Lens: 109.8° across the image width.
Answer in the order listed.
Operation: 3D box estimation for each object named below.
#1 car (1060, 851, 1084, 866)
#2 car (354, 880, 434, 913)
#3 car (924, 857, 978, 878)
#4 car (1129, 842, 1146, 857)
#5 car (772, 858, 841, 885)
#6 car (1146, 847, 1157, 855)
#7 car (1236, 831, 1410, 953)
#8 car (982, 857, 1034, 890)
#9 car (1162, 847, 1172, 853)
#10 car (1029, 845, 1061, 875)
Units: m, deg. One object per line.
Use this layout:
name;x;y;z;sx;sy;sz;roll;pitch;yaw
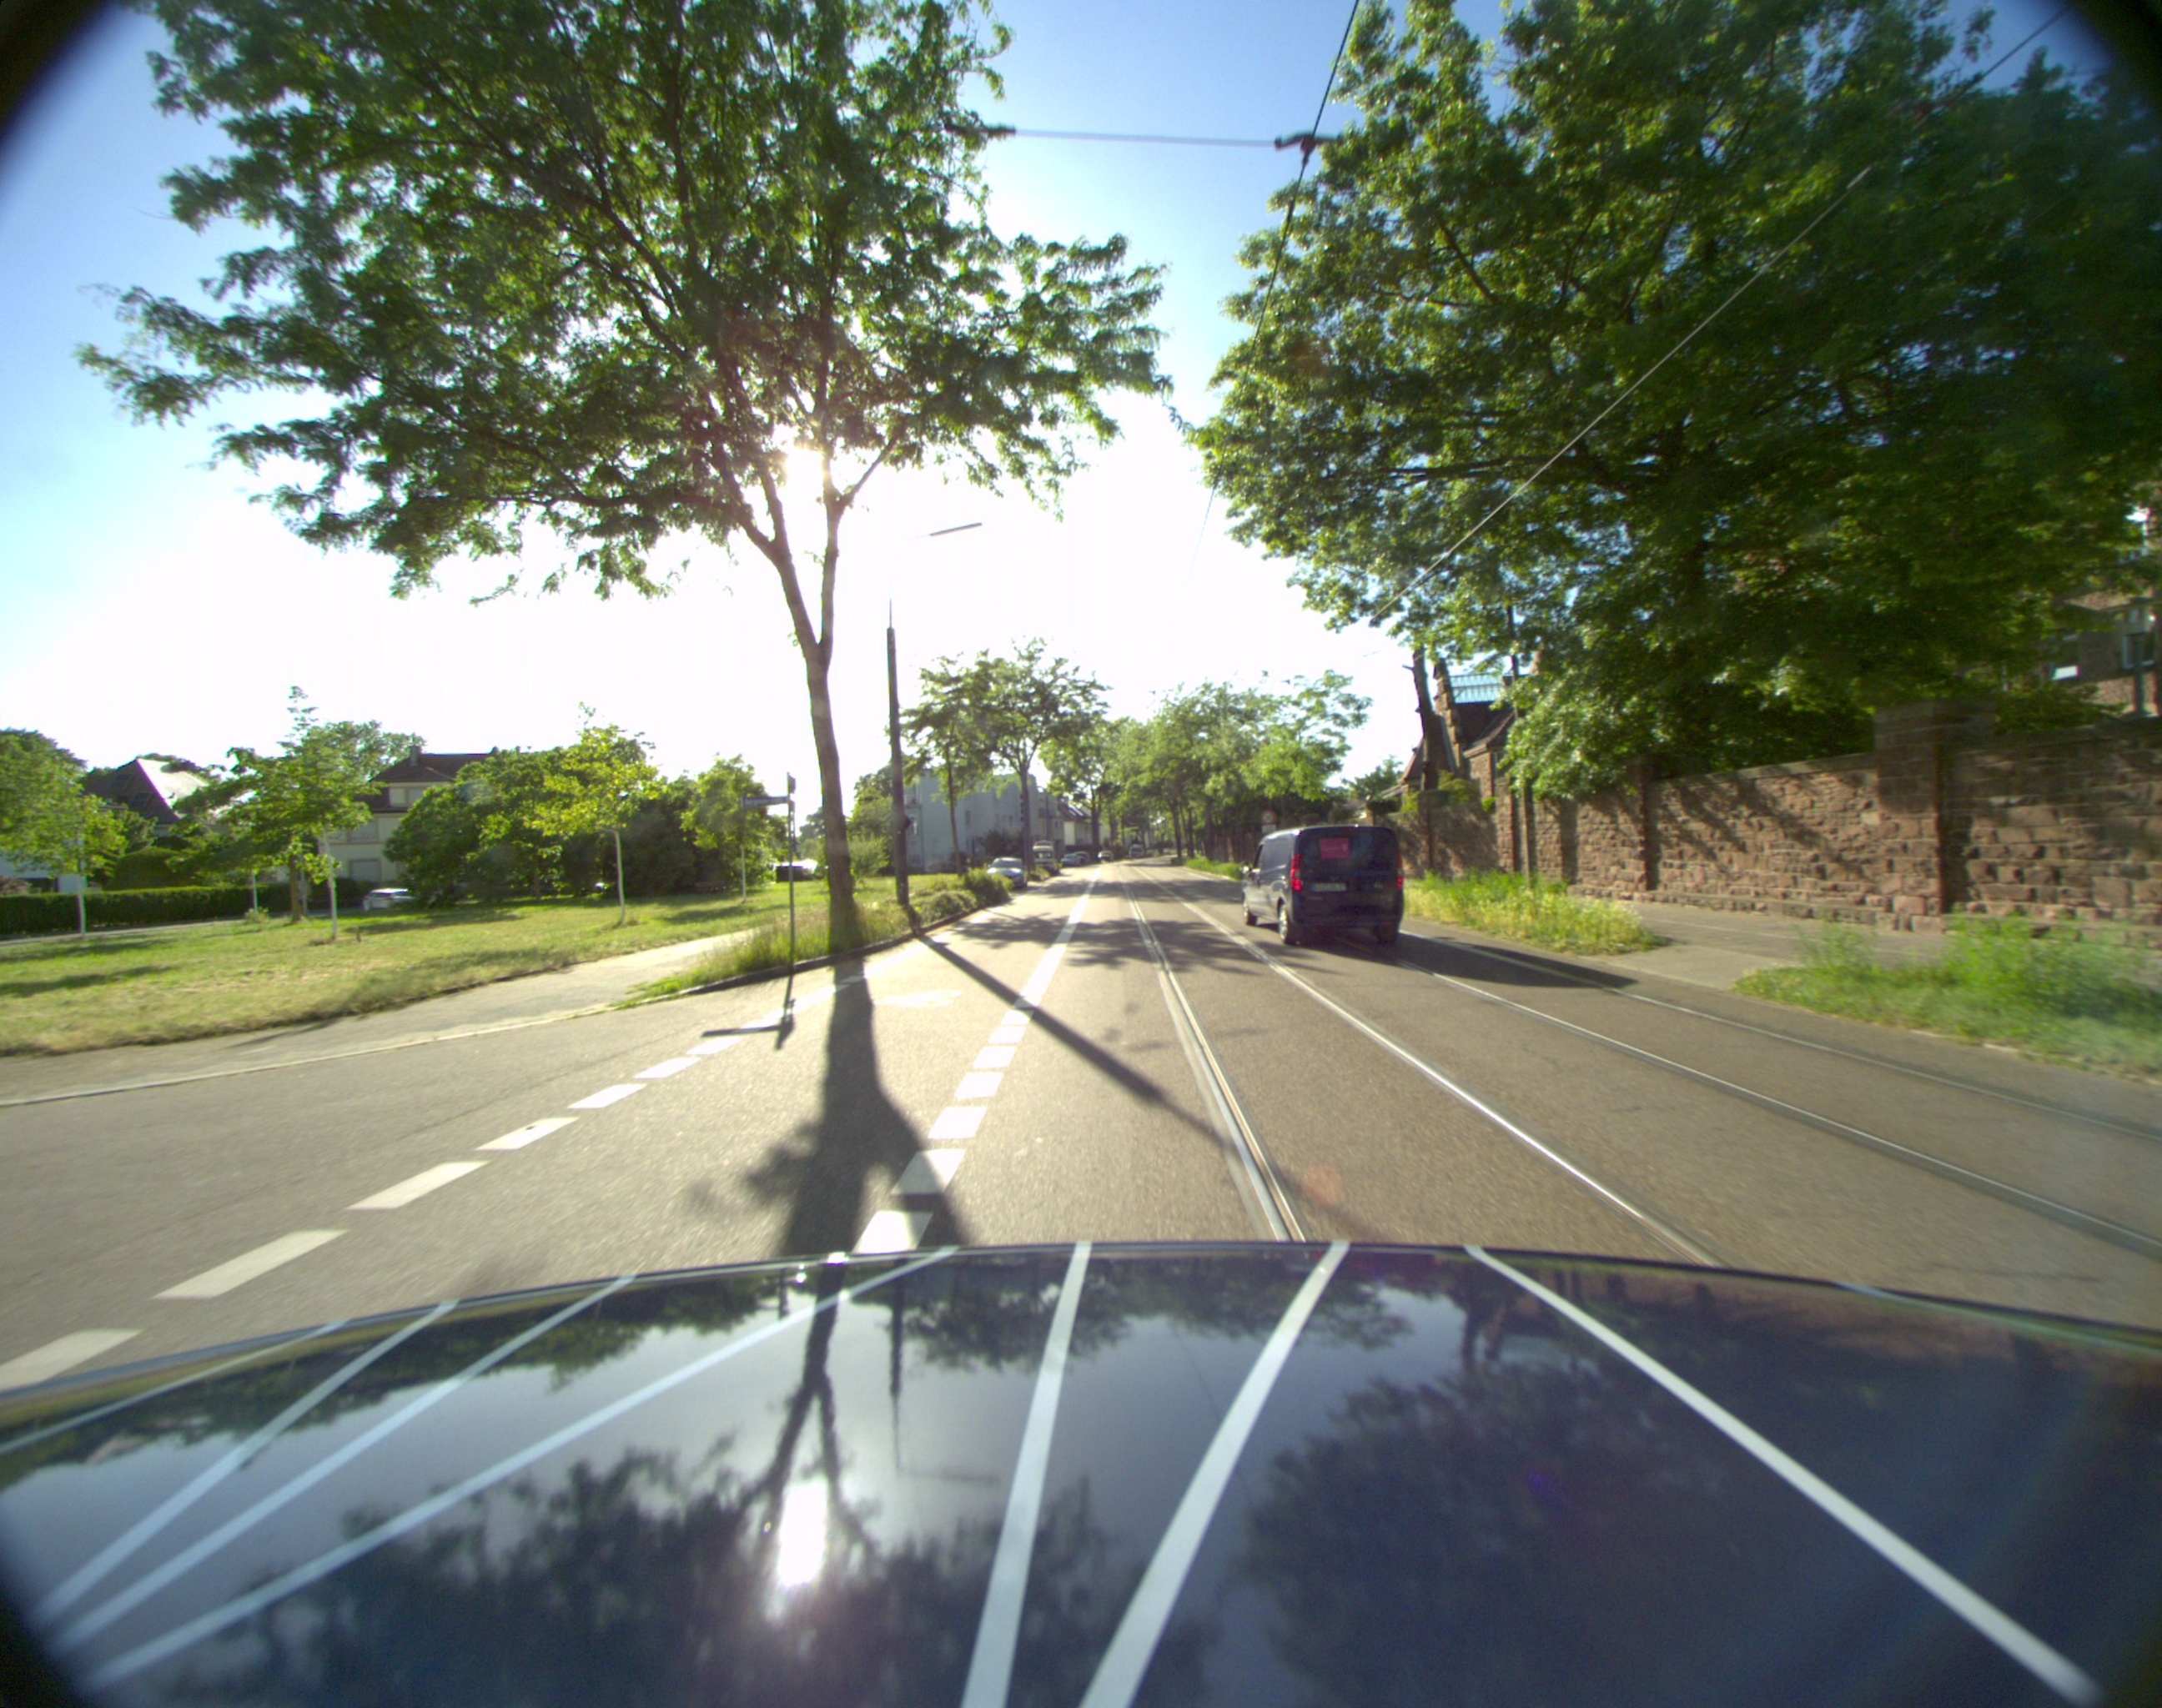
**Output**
car;-0.988;0.465;87.038;1.741;1.487;4.533;-3;1;12
car;-44.690;2.740;49.574;2.000;1.786;3.996;-3;1;-11
car;-11.407;1.149;66.796;4.465;1.482;2.005;-2;4;-16
car;10.536;-0.864;141.403;2.295;2.575;5.723;-3;1;12
car;-22.810;1.445;63.373;5.215;1.874;2.097;-4;1;-16
car;15.075;-0.609;162.289;1.661;1.527;4.004;-2;0;16
car;3.994;0.548;13.326;1.637;1.782;4.337;0;0;-1
car;-3.570;0.923;38.196;2.005;1.457;5.432;1;1;1
car;22.089;-1.081;195.077;1.997;1.474;4.003;-2;0;12
car;-2.646;0.415;56.492;1.998;2.083;4.716;-2;0;1
